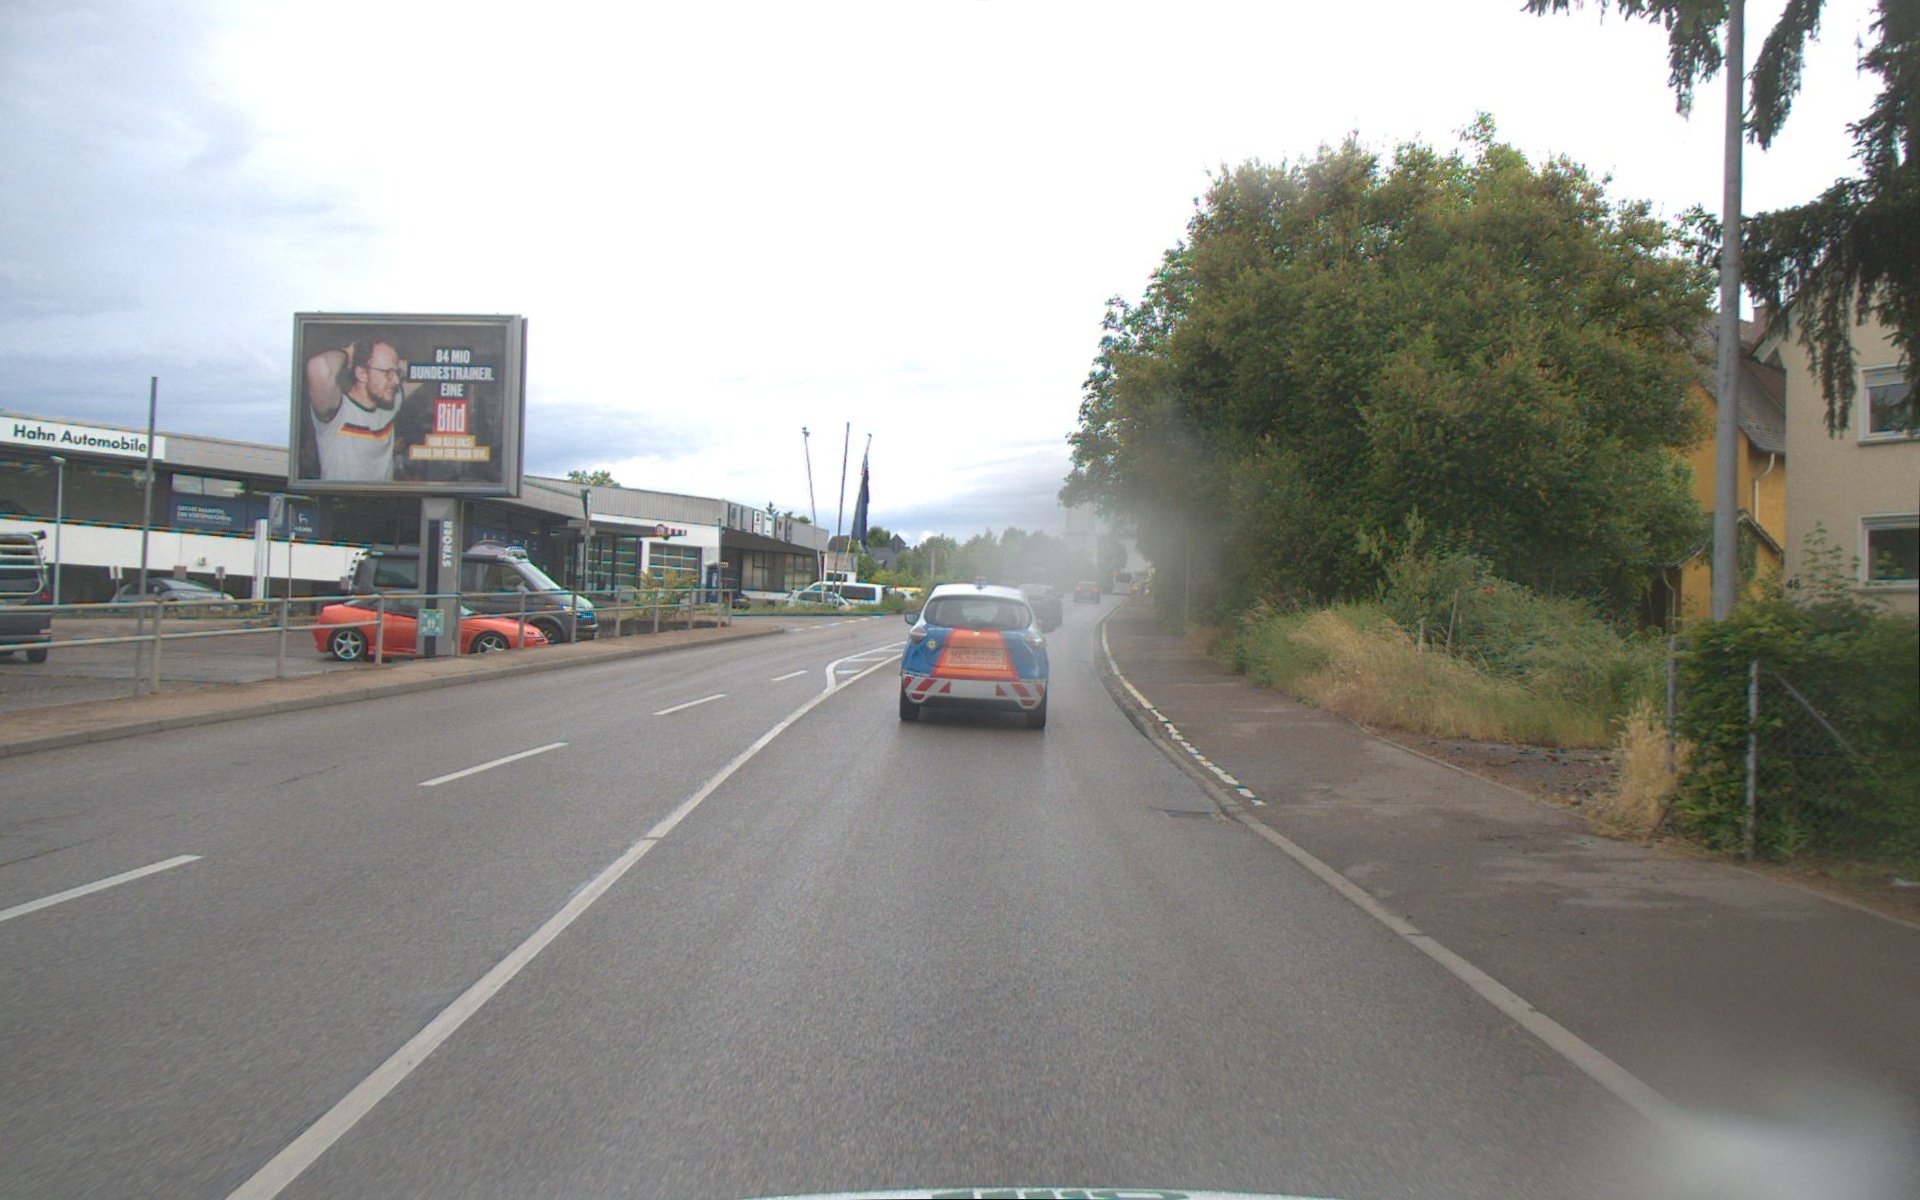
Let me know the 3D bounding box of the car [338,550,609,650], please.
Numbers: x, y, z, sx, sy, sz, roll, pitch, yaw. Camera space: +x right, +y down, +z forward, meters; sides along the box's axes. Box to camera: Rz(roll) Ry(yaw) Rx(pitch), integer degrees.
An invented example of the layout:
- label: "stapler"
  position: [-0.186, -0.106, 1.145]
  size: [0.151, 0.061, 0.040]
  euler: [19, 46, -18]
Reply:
- label: "car"
  position: [-9.845, -0.003, 33.764]
  size: [4.965, 1.903, 1.822]
  euler: [1, 0, -3]

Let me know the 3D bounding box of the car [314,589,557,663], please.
- label: "car"
  position: [-9.689, 0.472, 30.820]
  size: [4.014, 1.290, 1.767]
  euler: [1, 0, -7]

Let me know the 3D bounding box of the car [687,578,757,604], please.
- label: "car"
  position: [-13.841, -0.526, 96.167]
  size: [3.948, 1.440, 1.943]
  euler: [2, 1, 40]

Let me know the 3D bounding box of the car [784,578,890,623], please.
- label: "car"
  position: [-5.362, 0.012, 72.447]
  size: [4.319, 1.829, 1.935]
  euler: [1, 1, 5]

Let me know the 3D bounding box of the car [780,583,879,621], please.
- label: "car"
  position: [-5.498, 0.068, 69.971]
  size: [3.924, 1.504, 1.825]
  euler: [1, 1, 5]

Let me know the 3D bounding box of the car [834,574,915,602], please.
- label: "car"
  position: [-4.536, -0.651, 88.428]
  size: [4.138, 1.392, 1.876]
  euler: [1, 1, 3]

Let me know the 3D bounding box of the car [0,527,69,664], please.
- label: "car"
  position: [-15.738, -0.113, 26.409]
  size: [1.978, 2.022, 4.815]
  euler: [2, 0, -36]

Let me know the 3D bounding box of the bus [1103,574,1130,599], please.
- label: "bus"
  position: [21.051, -1.798, 222.825]
  size: [2.850, 3.225, 11.468]
  euler: [1, 0, 1]

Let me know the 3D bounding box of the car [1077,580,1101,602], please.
- label: "car"
  position: [8.875, -0.611, 113.645]
  size: [1.580, 1.432, 3.499]
  euler: [1, 0, 4]

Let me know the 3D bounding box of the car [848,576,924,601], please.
- label: "car"
  position: [-4.057, -0.645, 91.031]
  size: [3.977, 1.313, 1.805]
  euler: [1, 1, 3]

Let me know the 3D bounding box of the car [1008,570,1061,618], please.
- label: "car"
  position: [2.608, -0.215, 58.233]
  size: [1.765, 1.618, 3.564]
  euler: [1, 0, 2]

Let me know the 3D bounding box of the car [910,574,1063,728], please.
- label: "car"
  position: [0.369, 0.571, 19.843]
  size: [1.623, 1.621, 3.569]
  euler: [2, 0, 3]

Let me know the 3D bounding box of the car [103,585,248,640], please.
- label: "car"
  position: [-22.611, 0.337, 47.669]
  size: [4.018, 1.453, 1.885]
  euler: [2, 1, 31]

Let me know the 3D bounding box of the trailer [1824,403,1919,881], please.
- label: "trailer"
  position: [7.145, 0.300, 8.519]
  size: [4.451, 2.442, 1.945]
  euler: [2, 0, -9]
